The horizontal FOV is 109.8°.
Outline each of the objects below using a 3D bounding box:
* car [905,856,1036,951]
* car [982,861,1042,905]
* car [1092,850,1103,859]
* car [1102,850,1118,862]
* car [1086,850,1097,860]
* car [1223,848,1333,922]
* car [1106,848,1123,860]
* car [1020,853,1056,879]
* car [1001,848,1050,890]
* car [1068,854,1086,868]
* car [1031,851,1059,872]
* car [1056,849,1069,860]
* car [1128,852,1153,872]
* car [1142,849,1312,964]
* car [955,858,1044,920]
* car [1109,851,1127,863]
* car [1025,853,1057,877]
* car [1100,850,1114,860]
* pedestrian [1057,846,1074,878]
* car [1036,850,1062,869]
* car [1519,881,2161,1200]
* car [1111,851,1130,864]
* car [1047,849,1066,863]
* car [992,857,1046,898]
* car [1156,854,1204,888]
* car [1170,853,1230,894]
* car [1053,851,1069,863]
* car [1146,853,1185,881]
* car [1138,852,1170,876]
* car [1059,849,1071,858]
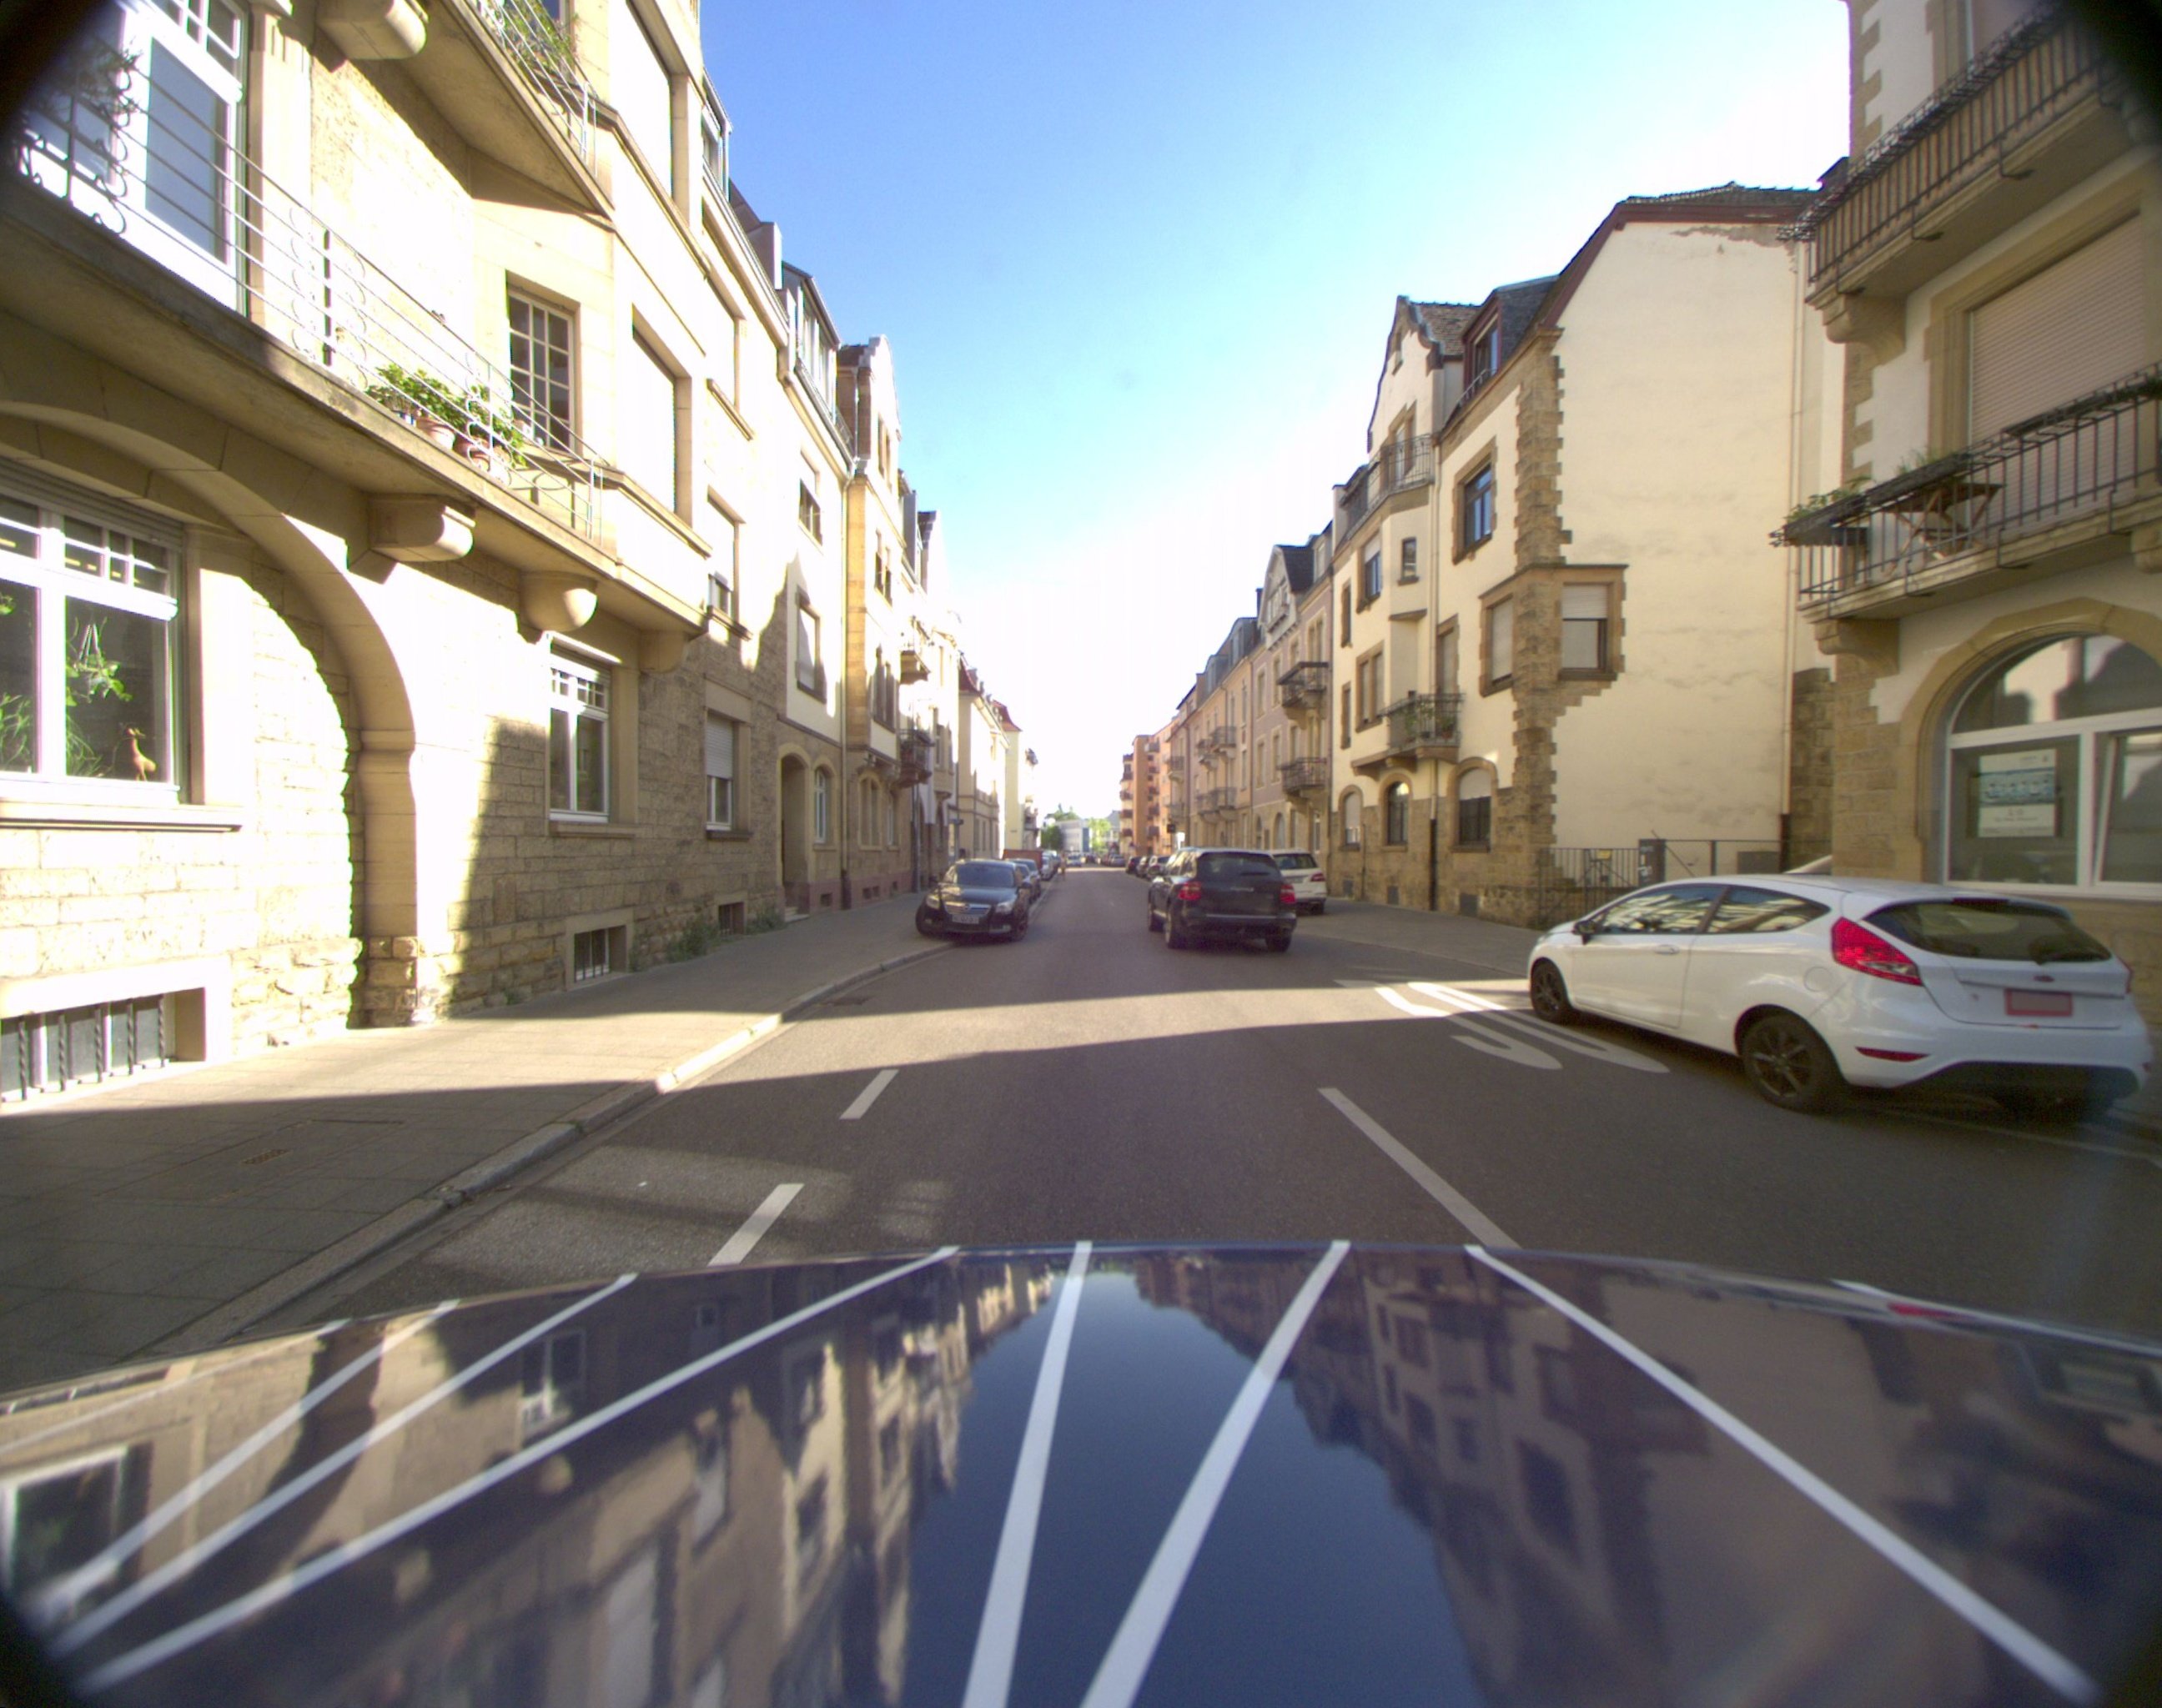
[{"bbox_3d":[-2.036,0.872,15.230,2.024,1.500,4.111,2,1,-1],"label":"car"},{"bbox_3d":[-2.233,0.915,25.377,1.661,1.272,3.729,1,1,-1],"label":"car"},{"bbox_3d":[2.802,0.026,130.794,1.656,1.449,3.642,0,1,-1],"label":"car"},{"bbox_3d":[4.113,0.259,107.250,2.005,1.500,4.320,1,1,-1],"label":"car"},{"bbox_3d":[1.694,0.149,123.845,1.656,1.449,3.642,0,1,-1],"label":"car"},{"bbox_3d":[5.195,0.741,20.590,1.890,1.717,4.211,-2,1,1],"label":"car"},{"bbox_3d":[4.518,-0.025,101.956,2.005,1.500,4.320,1,1,-1],"label":"car"},{"bbox_3d":[-2.652,0.701,47.866,2.005,1.500,4.320,1,1,-1],"label":"car"},{"bbox_3d":[-2.559,0.636,35.808,2.005,1.828,4.320,1,1,-1],"label":"car"},{"bbox_3d":[-0.437,0.826,87.237,2.005,1.500,4.320,1,1,-1],"label":"car"},{"bbox_3d":[-2.744,0.517,58.664,2.005,1.500,4.320,1,1,-1],"label":"car"},{"bbox_3d":[-2.941,0.037,123.334,2.005,1.722,4.320,1,1,-1],"label":"car"},{"bbox_3d":[4.893,0.621,62.972,1.793,1.500,4.320,-2,1,1],"label":"car"},{"bbox_3d":[2.350,0.764,13.594,2.078,1.684,4.708,1,0,0],"label":"car"},{"bbox_3d":[-2.096,0.863,20.798,2.005,1.499,4.321,1,0,-1],"label":"car"},{"bbox_3d":[4.623,0.365,96.204,2.005,1.500,4.320,1,1,-1],"label":"car"},{"bbox_3d":[-2.747,0.720,52.639,2.005,1.500,4.320,1,1,-1],"label":"car"},{"bbox_3d":[3.959,0.156,116.758,2.005,1.500,4.320,1,1,-1],"label":"car"},{"bbox_3d":[-0.993,0.508,48.127,0.952,2.002,1.066,-2,1,1],"label":"pedestrian"},{"bbox_3d":[-2.671,0.432,64.498,2.005,1.500,4.320,1,1,-1],"label":"car"},{"bbox_3d":[5.111,1.006,5.643,1.656,1.449,3.643,2,0,2],"label":"car"},{"bbox_3d":[4.673,0.382,91.390,2.005,1.500,4.320,1,1,-1],"label":"car"},{"bbox_3d":[-2.844,0.242,88.977,2.005,1.500,4.320,1,1,-1],"label":"car"},{"bbox_3d":[-2.384,0.878,30.119,1.824,1.415,4.320,1,1,-1],"label":"car"},{"bbox_3d":[4.857,0.802,37.805,1.857,1.491,4.318,-2,1,1],"label":"car"},{"bbox_3d":[4.985,0.781,32.365,1.890,1.500,4.320,-2,1,1],"label":"car"},{"bbox_3d":[-2.583,0.404,99.951,2.005,1.500,4.320,1,1,-1],"label":"car"},{"bbox_3d":[5.022,0.717,45.831,1.890,1.500,4.320,-2,1,1],"label":"car"},{"bbox_3d":[4.992,0.650,52.349,1.809,1.500,4.003,-2,1,1],"label":"car"},{"bbox_3d":[-2.857,-0.102,136.655,2.005,1.500,4.320,1,1,-1],"label":"car"}]
